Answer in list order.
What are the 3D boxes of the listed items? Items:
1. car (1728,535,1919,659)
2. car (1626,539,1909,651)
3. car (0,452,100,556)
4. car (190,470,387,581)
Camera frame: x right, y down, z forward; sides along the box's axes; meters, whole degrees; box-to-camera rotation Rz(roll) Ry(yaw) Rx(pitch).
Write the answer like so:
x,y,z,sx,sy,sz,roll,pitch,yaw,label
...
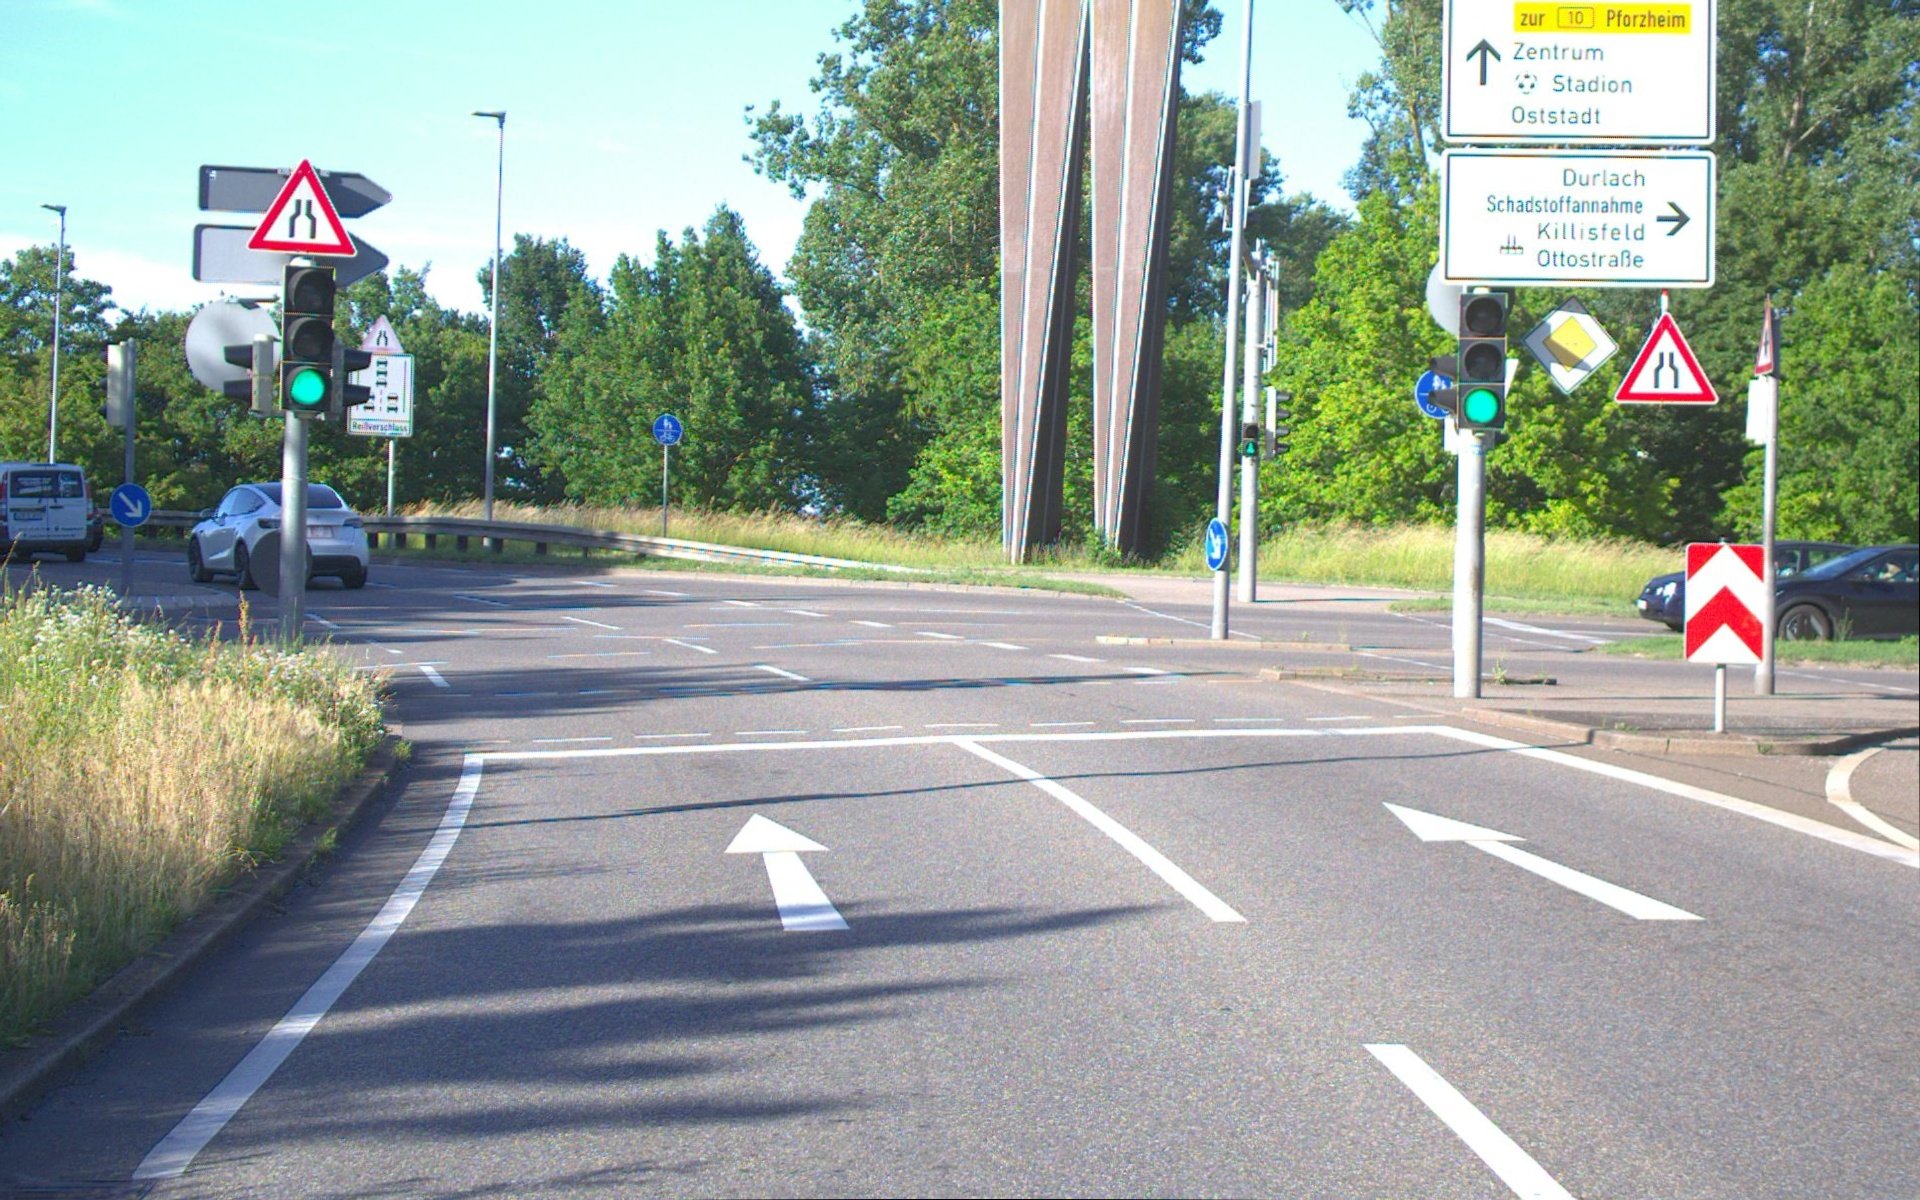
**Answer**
x,y,z,sx,sy,sz,roll,pitch,yaw,label
12.498,0.000,44.656,4.457,1.459,2.001,2,2,-5,car
12.165,-0.088,51.917,3.745,1.398,1.694,3,3,-3,car
-17.988,-1.840,65.350,1.993,1.873,4.249,1,1,-31,car
-10.588,-1.185,53.973,1.993,1.634,4.129,1,1,-26,car
